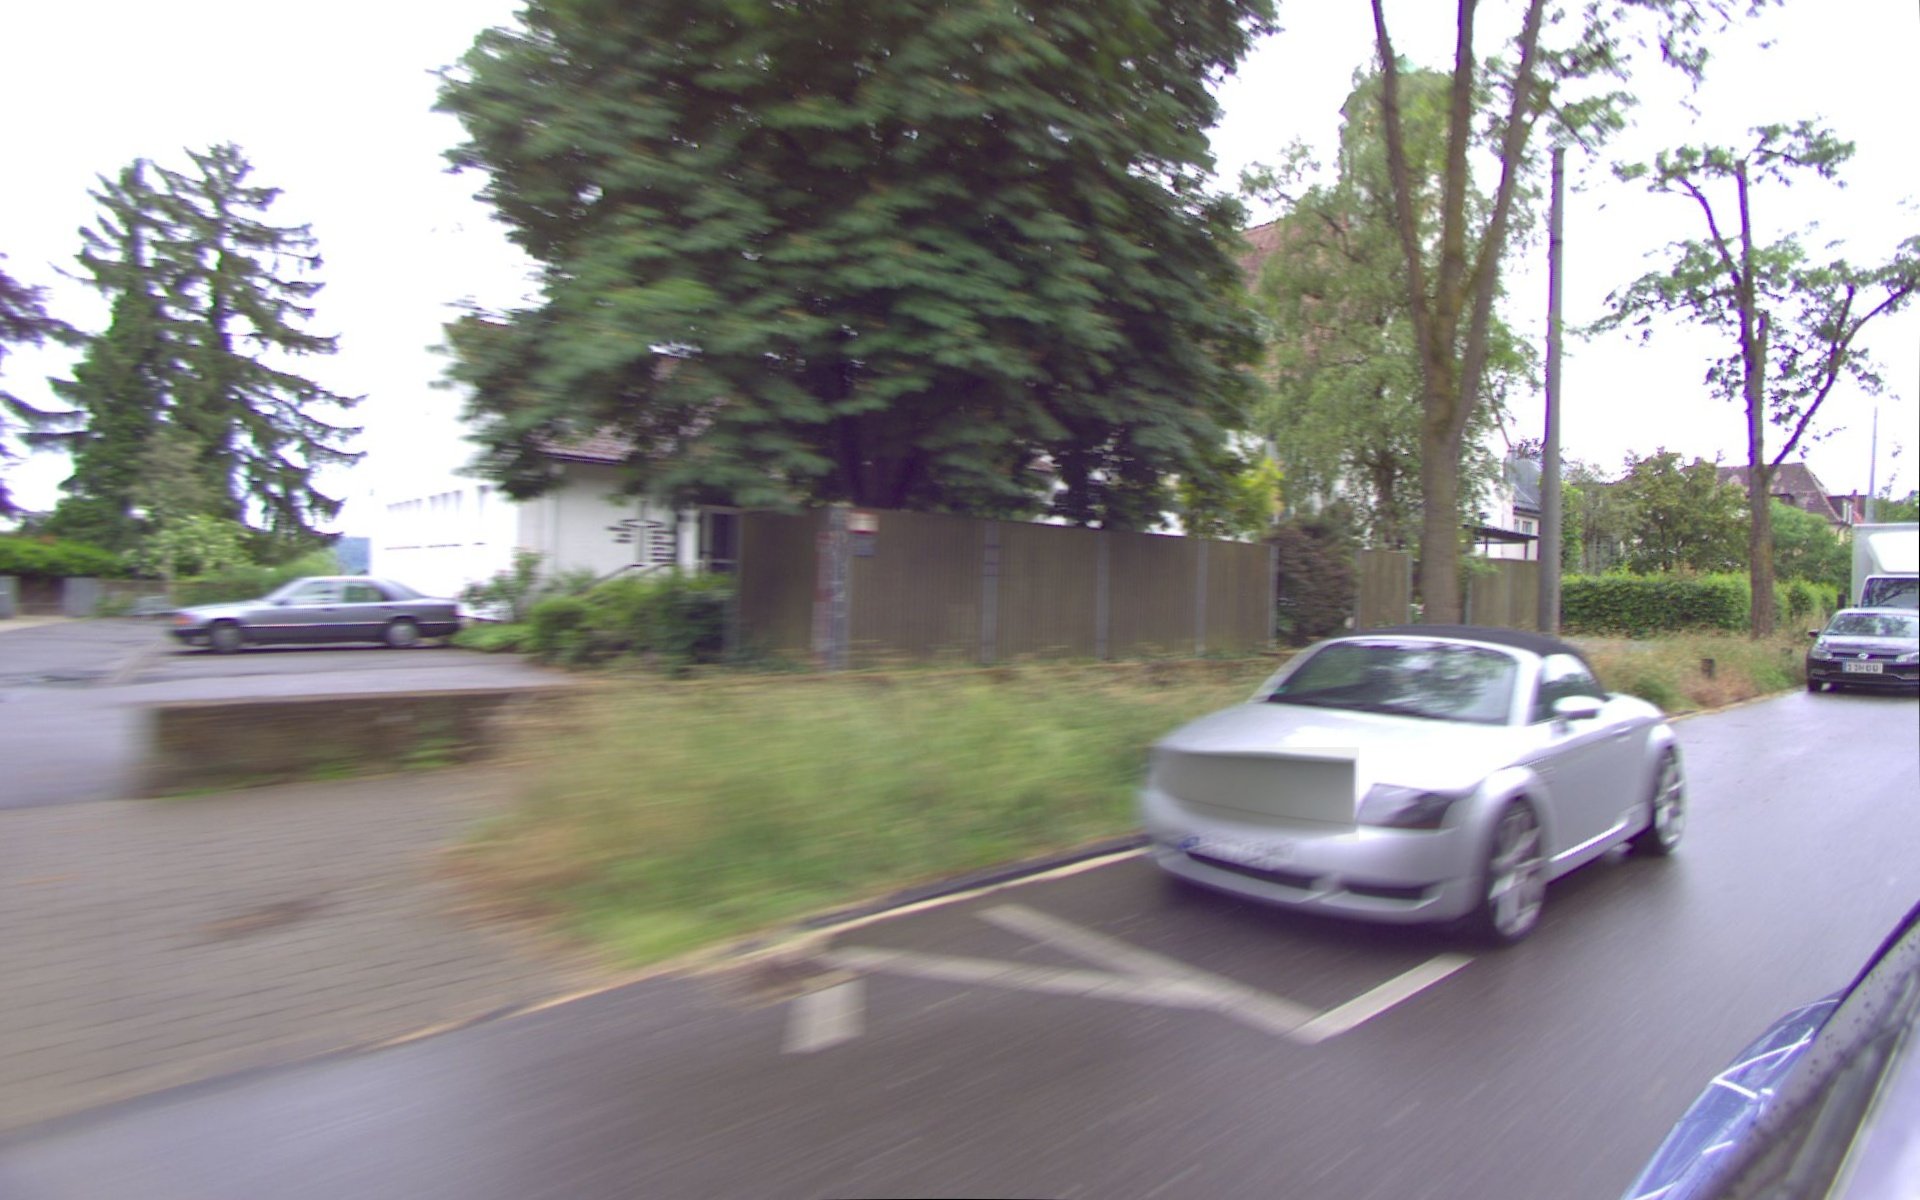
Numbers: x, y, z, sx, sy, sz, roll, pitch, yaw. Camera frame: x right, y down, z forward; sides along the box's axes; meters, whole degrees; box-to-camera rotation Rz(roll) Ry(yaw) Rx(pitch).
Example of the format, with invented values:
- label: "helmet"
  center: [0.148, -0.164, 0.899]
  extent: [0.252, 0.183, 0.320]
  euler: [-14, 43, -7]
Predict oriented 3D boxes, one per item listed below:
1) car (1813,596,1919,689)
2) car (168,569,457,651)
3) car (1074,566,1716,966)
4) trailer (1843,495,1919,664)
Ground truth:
- label: "car"
  center: [16.586, 0.690, 17.955]
  extent: [3.930, 1.482, 1.643]
  euler: [0, 0, -41]
- label: "car"
  center: [-12.074, 0.179, 19.076]
  extent: [4.441, 1.393, 1.619]
  euler: [0, 0, -37]
- label: "car"
  center: [2.603, 0.593, 5.578]
  extent: [3.931, 1.413, 1.784]
  euler: [0, 0, -42]
- label: "trailer"
  center: [23.289, -0.420, 23.824]
  extent: [8.103, 3.553, 2.738]
  euler: [0, 0, -41]
